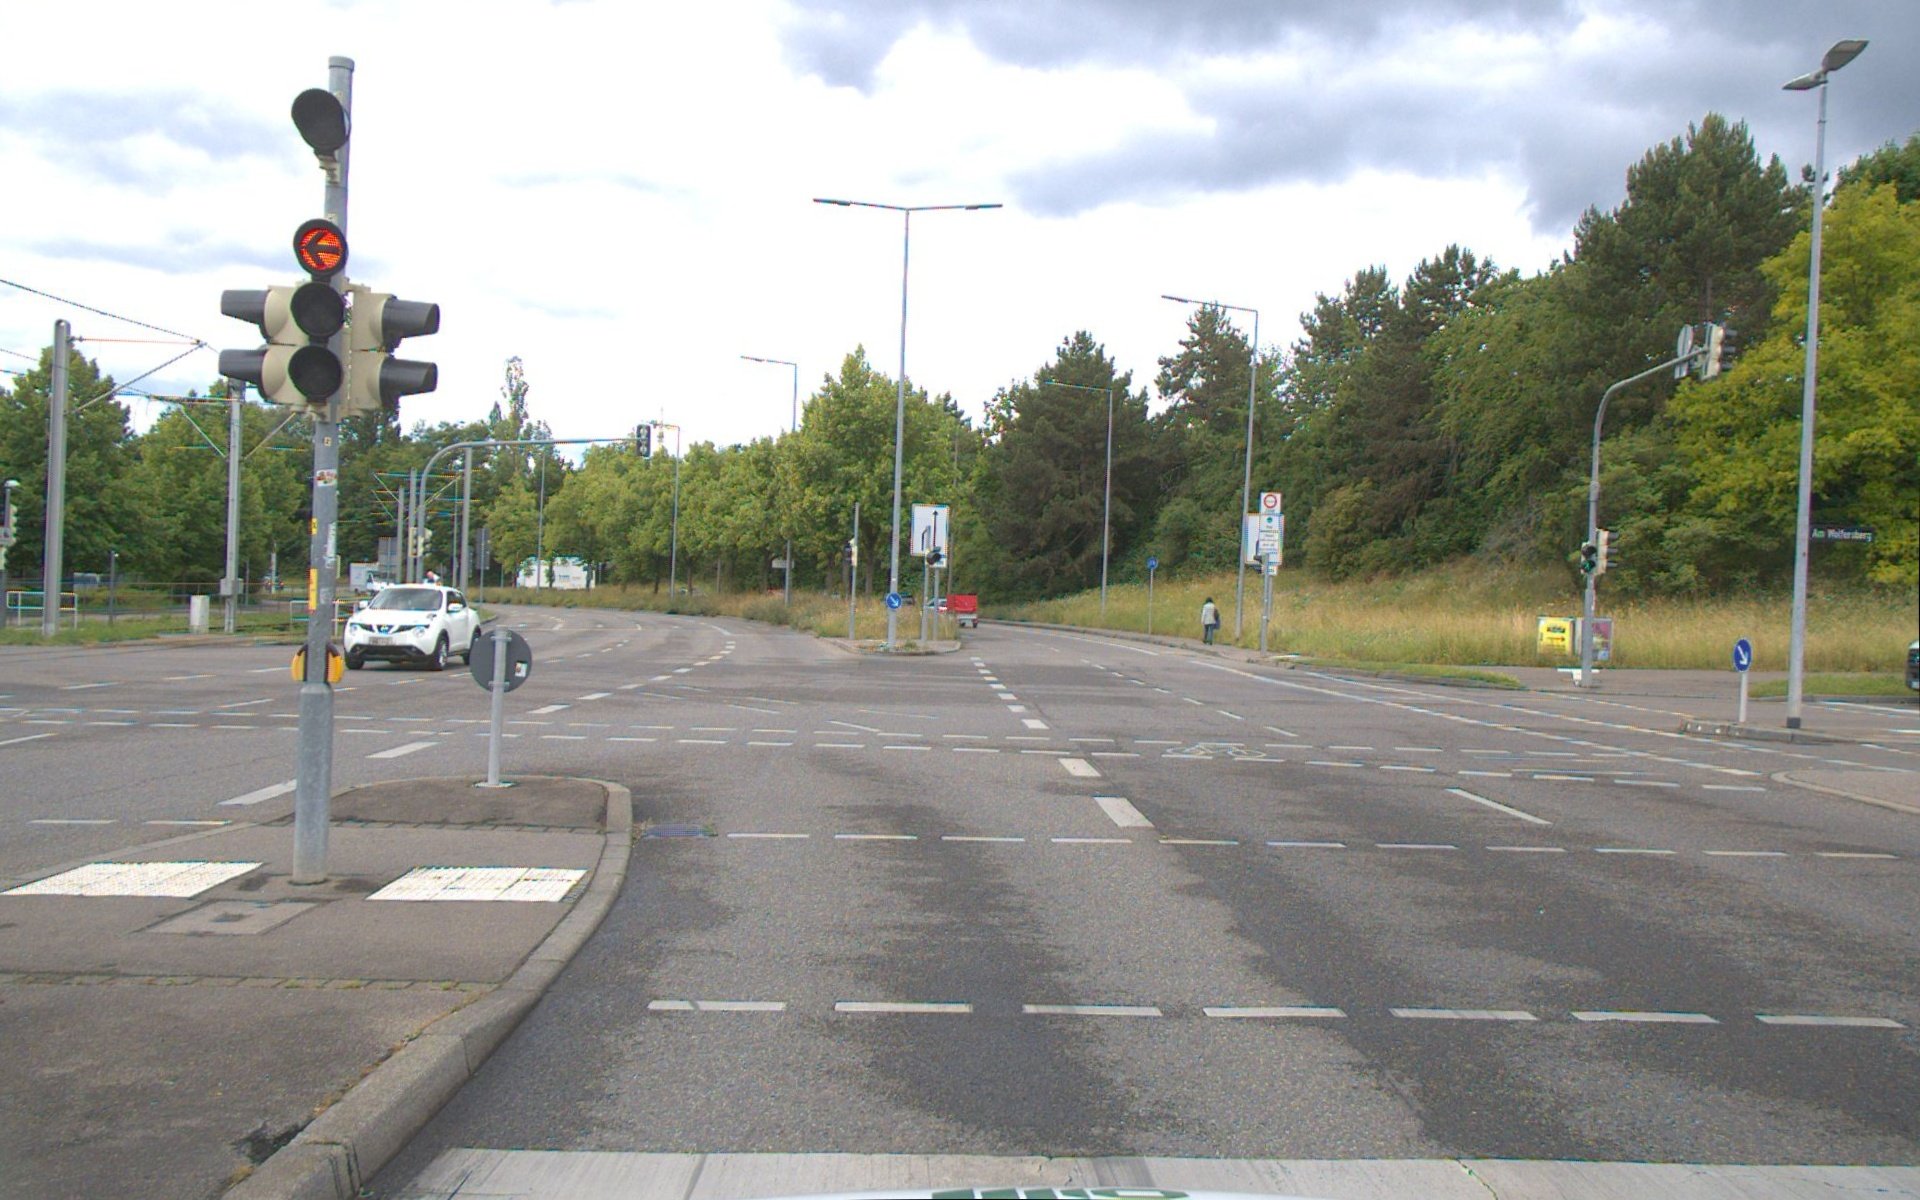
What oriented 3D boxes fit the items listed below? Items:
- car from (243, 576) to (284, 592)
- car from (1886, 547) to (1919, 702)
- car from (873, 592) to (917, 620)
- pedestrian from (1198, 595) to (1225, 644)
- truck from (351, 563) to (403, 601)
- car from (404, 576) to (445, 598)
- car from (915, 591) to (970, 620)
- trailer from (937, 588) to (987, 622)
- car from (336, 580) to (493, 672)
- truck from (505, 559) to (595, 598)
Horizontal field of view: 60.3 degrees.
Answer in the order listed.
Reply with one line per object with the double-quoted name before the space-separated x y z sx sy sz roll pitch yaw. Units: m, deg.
"car" -72.776 -1.669 172.832 3.933 1.573 1.782 1 0 26
"car" 20.331 0.466 30.091 5.772 2.830 2.135 0 0 -1
"car" -3.863 0.316 98.208 1.749 1.573 4.008 1 0 -15
"pedestrian" 8.763 0.679 57.692 0.797 1.656 0.790 1 0 -1
"truck" -50.247 -1.521 142.513 2.104 3.190 5.809 1 0 -42
"car" -52.143 -1.279 161.032 3.923 2.049 1.991 1 0 39
"car" -0.960 0.270 87.955 1.749 1.446 4.439 1 0 -16
"trailer" 0.084 0.246 84.374 1.736 1.644 3.030 1 0 -16
"car" -10.409 0.459 31.871 1.792 1.657 4.422 0 0 -4
"truck" -36.869 -1.937 148.462 2.727 3.387 11.226 1 1 -43
